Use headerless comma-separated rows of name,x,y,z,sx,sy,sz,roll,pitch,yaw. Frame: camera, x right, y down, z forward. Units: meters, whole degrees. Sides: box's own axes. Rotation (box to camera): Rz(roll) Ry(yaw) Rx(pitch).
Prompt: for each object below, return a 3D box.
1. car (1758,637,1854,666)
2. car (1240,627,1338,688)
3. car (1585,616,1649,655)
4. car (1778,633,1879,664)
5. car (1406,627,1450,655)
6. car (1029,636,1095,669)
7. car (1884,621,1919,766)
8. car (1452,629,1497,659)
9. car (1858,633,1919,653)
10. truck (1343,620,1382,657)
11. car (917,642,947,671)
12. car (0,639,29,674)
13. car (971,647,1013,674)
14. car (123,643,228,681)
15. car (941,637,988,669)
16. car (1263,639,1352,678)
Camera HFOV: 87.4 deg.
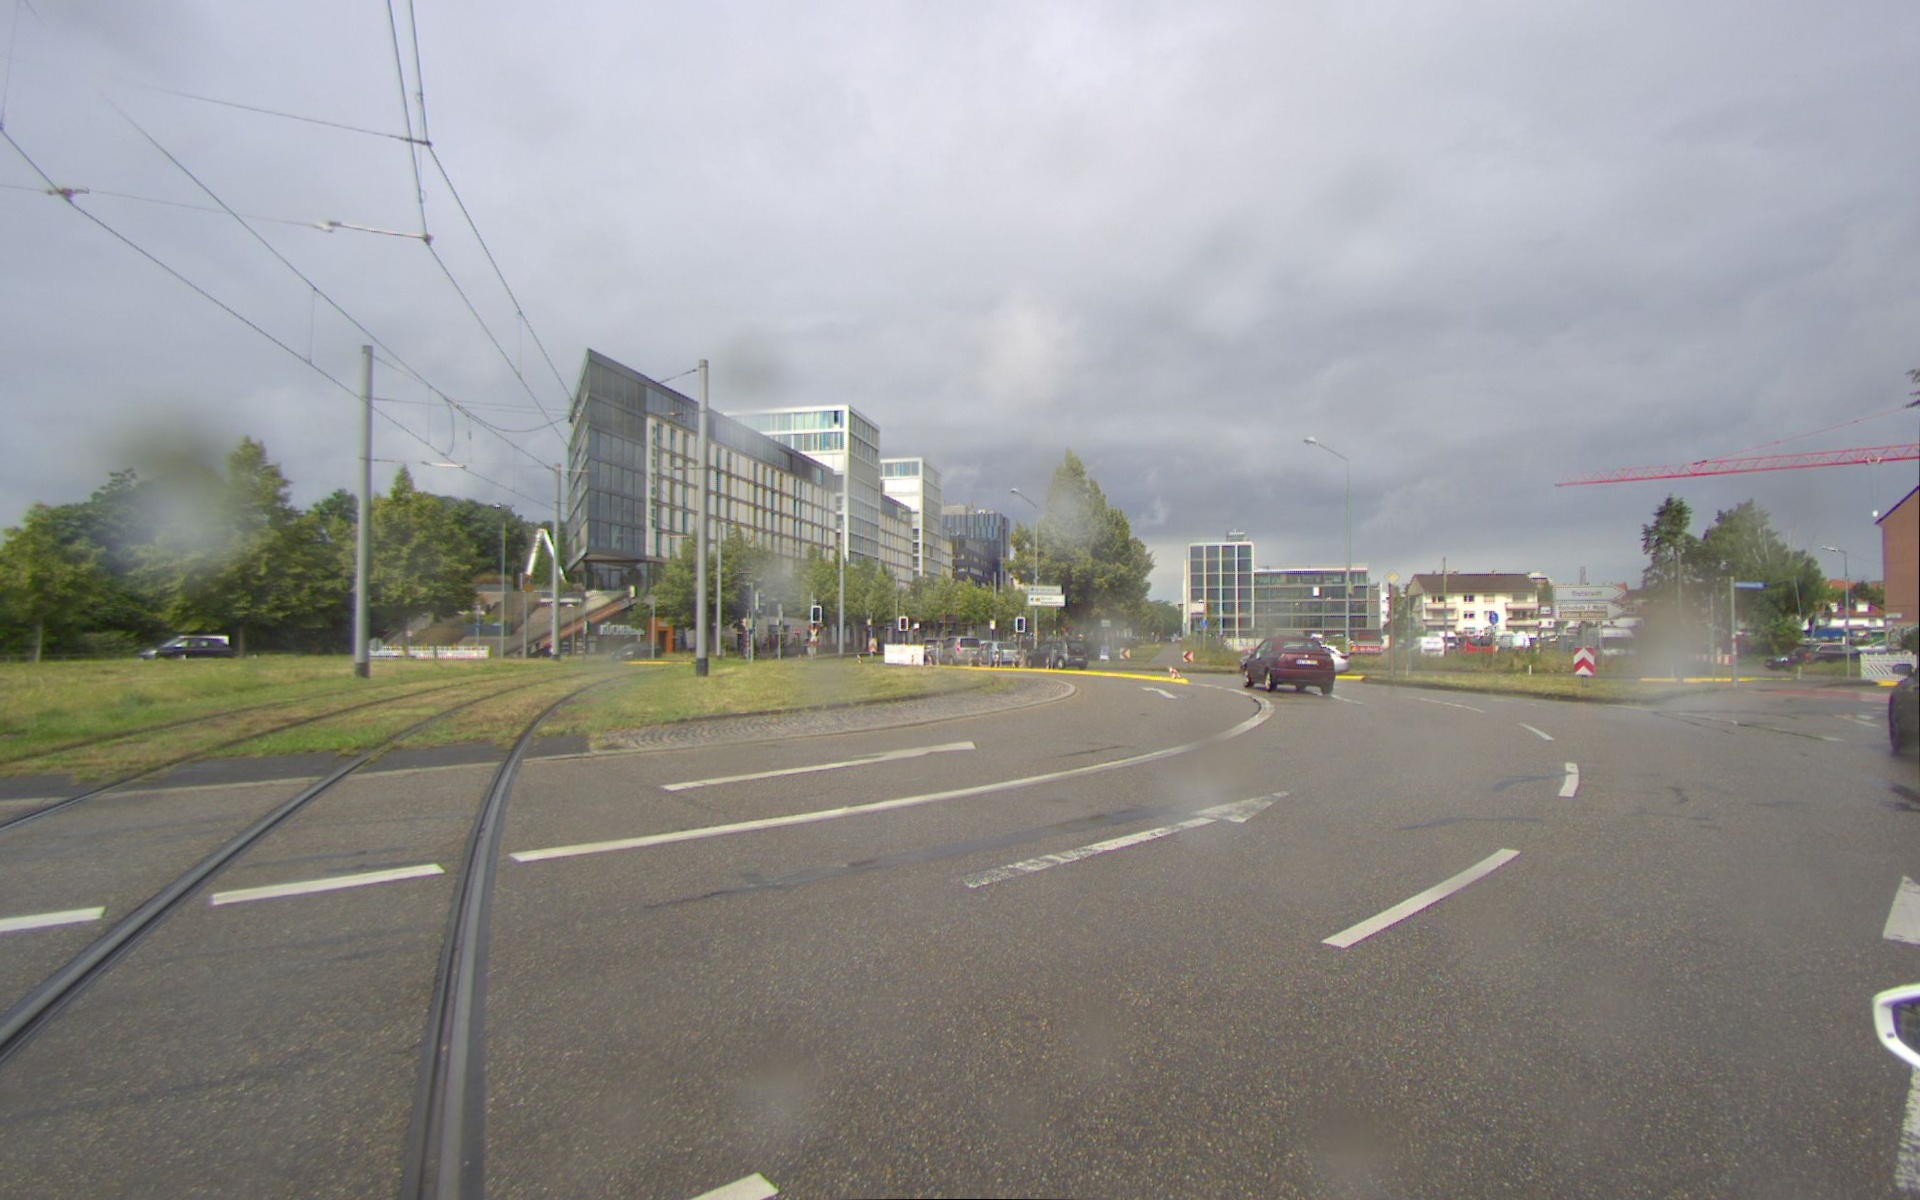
car,49.879,3.015,59.304,3.982,1.654,1.616,-1,-2,25
car,8.737,1.522,26.987,1.685,1.481,4.003,-1,-3,6
car,39.413,2.057,60.393,2.003,2.113,6.263,0,0,22
car,48.894,2.712,56.655,3.982,1.654,1.616,-1,-2,25
car,31.847,2.744,68.447,1.820,1.723,4.002,0,0,12
car,5.136,2.613,50.962,1.533,1.581,3.469,1,-2,-32
car,12.826,1.091,12.409,1.875,1.639,3.981,-2,-3,40
car,33.289,2.833,65.069,1.891,1.723,4.001,0,0,16
car,71.352,3.296,77.092,1.605,1.539,3.478,2,-3,-42
truck,26.874,2.528,67.188,2.351,2.241,6.099,0,0,21
car,-1.667,3.312,59.610,1.544,1.581,3.676,-1,-2,-5
car,-48.829,2.768,49.166,4.421,1.693,1.851,2,-4,-32
car,1.751,3.333,55.699,1.672,1.385,3.841,0,-2,-8
car,-37.457,2.914,48.012,3.795,1.694,1.843,2,-2,-43
car,0.202,2.702,52.101,1.524,1.581,3.489,0,-2,-15
car,14.906,2.503,43.231,3.478,1.581,1.601,-1,-2,13
